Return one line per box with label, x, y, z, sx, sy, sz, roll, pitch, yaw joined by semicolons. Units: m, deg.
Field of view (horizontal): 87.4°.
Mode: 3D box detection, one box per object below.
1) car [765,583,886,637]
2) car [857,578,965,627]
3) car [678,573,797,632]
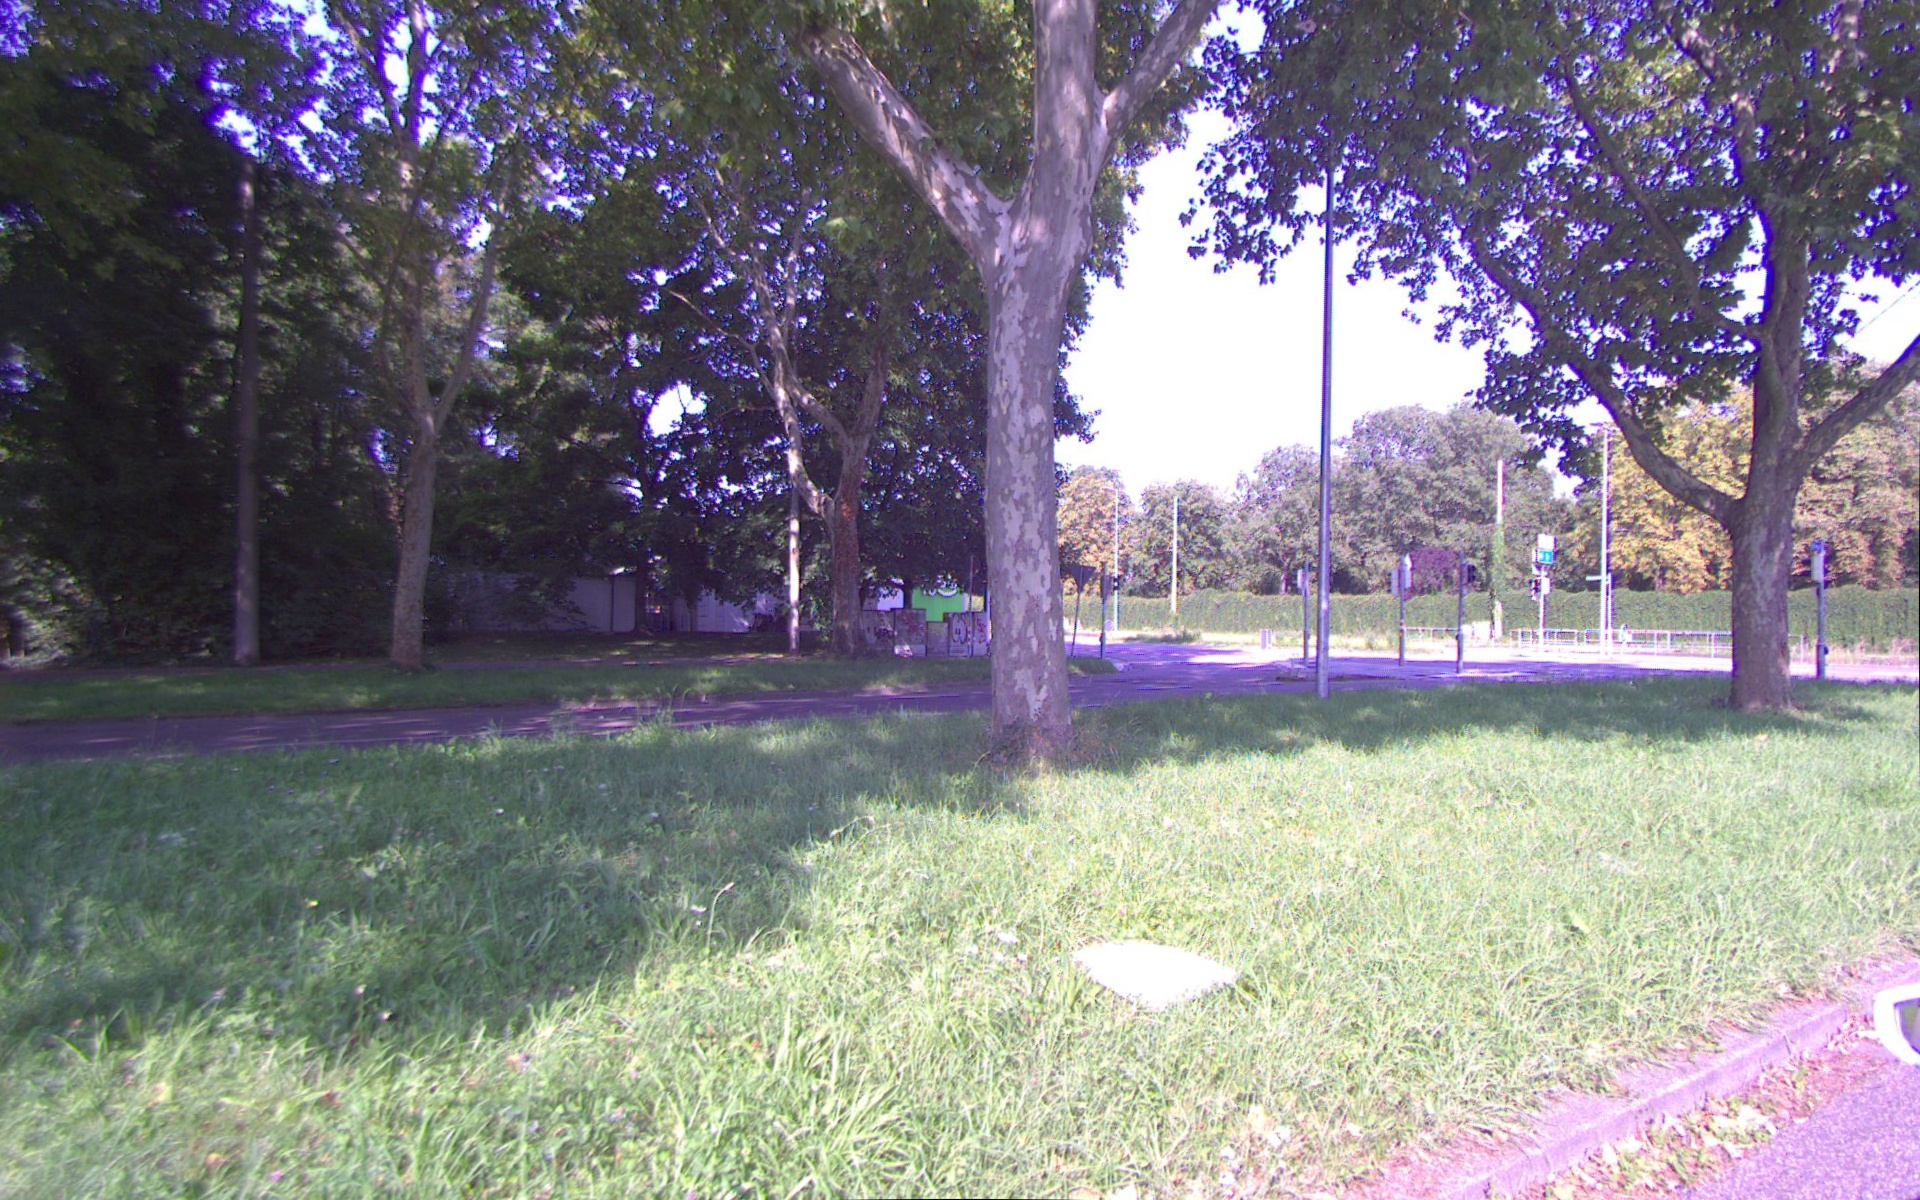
car;-5.688;0.443;42.629;4.664;2.165;2.164;1;-1;-36
car;-2.392;0.144;49.725;5.072;2.293;2.016;1;0;-36
car;-9.780;0.150;44.249;4.664;2.472;2.164;1;-1;-36
